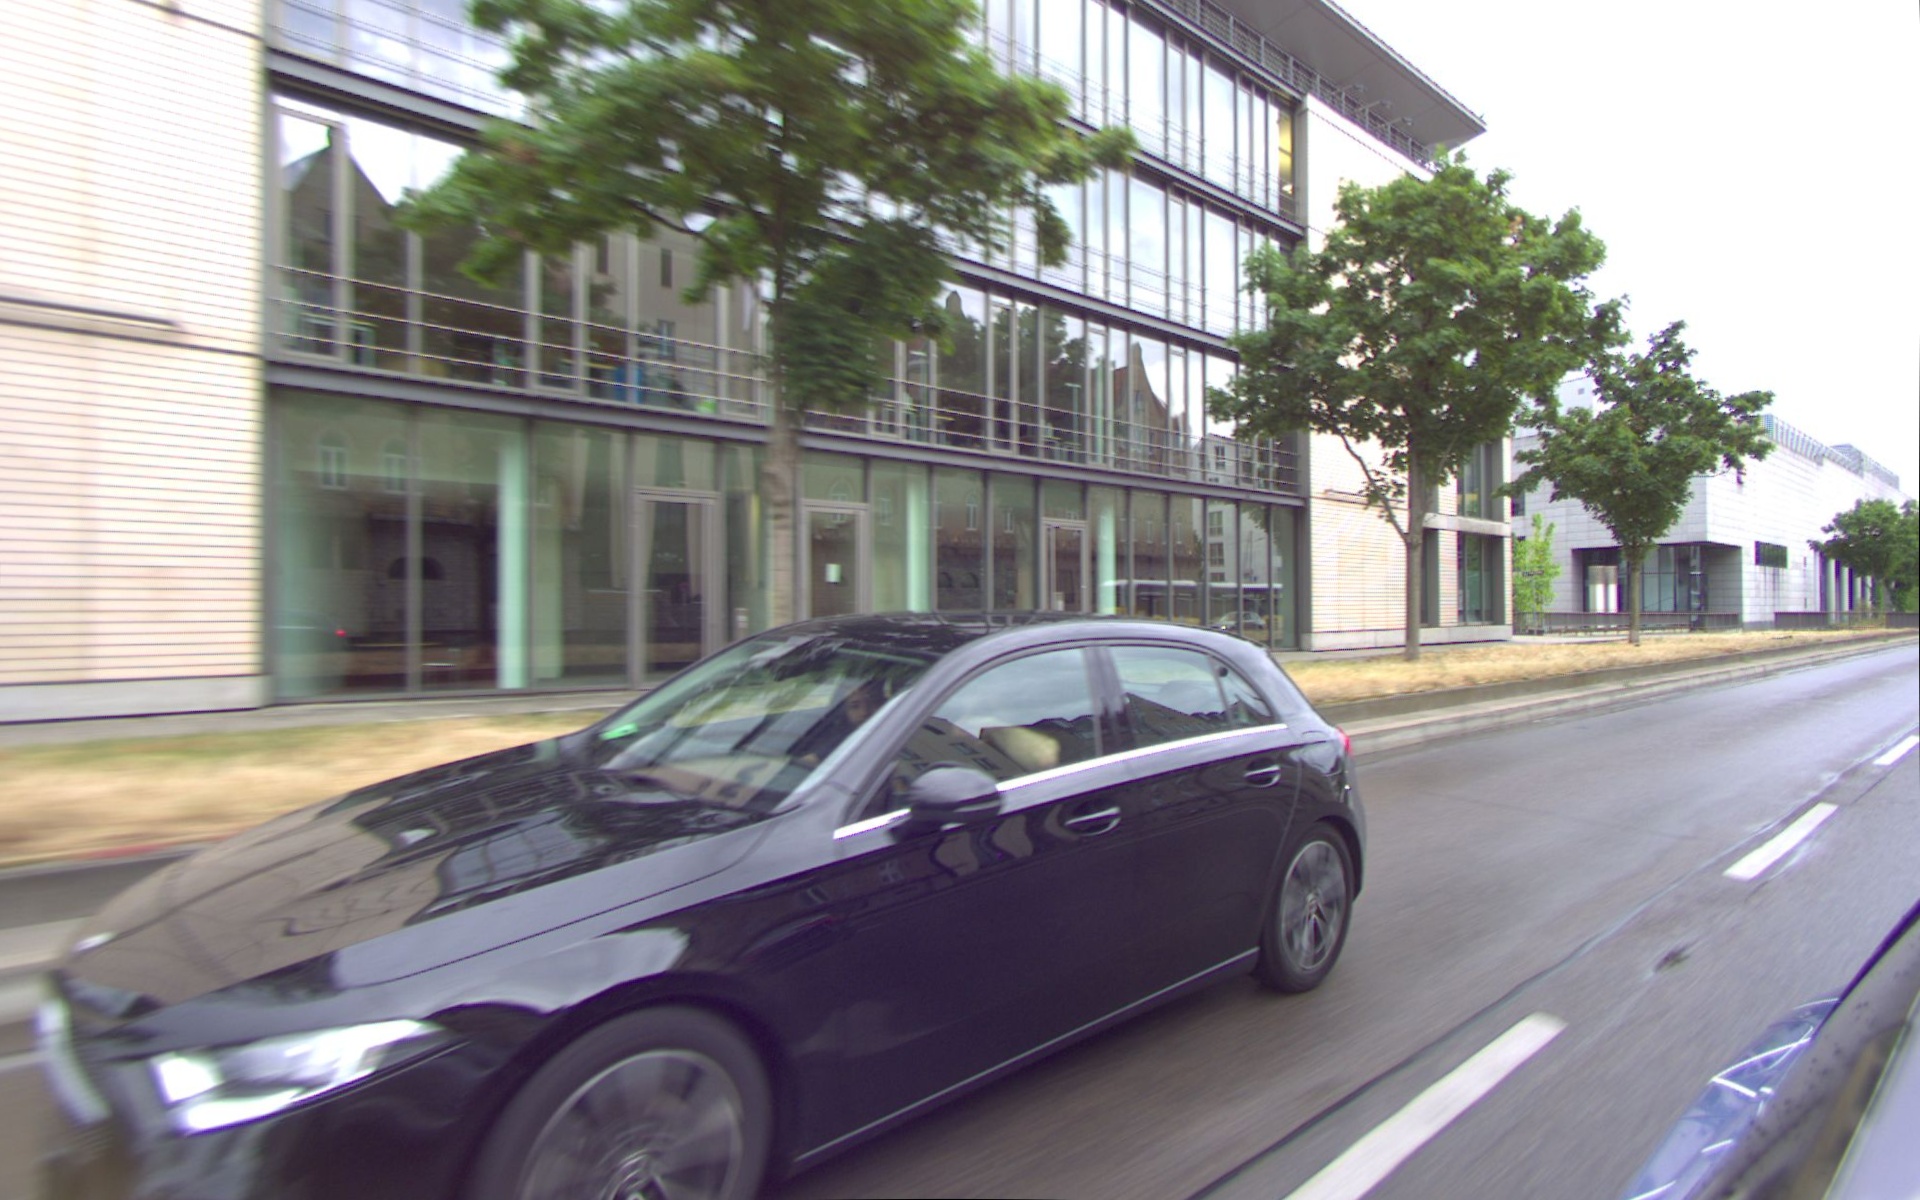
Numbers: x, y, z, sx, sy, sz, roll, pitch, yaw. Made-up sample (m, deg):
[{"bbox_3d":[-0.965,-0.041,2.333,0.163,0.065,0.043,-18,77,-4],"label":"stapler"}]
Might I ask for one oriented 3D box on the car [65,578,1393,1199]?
[{"bbox_3d":[-0.354,0.675,3.530,4.133,1.454,1.875,0,1,-42],"label":"car"}]
